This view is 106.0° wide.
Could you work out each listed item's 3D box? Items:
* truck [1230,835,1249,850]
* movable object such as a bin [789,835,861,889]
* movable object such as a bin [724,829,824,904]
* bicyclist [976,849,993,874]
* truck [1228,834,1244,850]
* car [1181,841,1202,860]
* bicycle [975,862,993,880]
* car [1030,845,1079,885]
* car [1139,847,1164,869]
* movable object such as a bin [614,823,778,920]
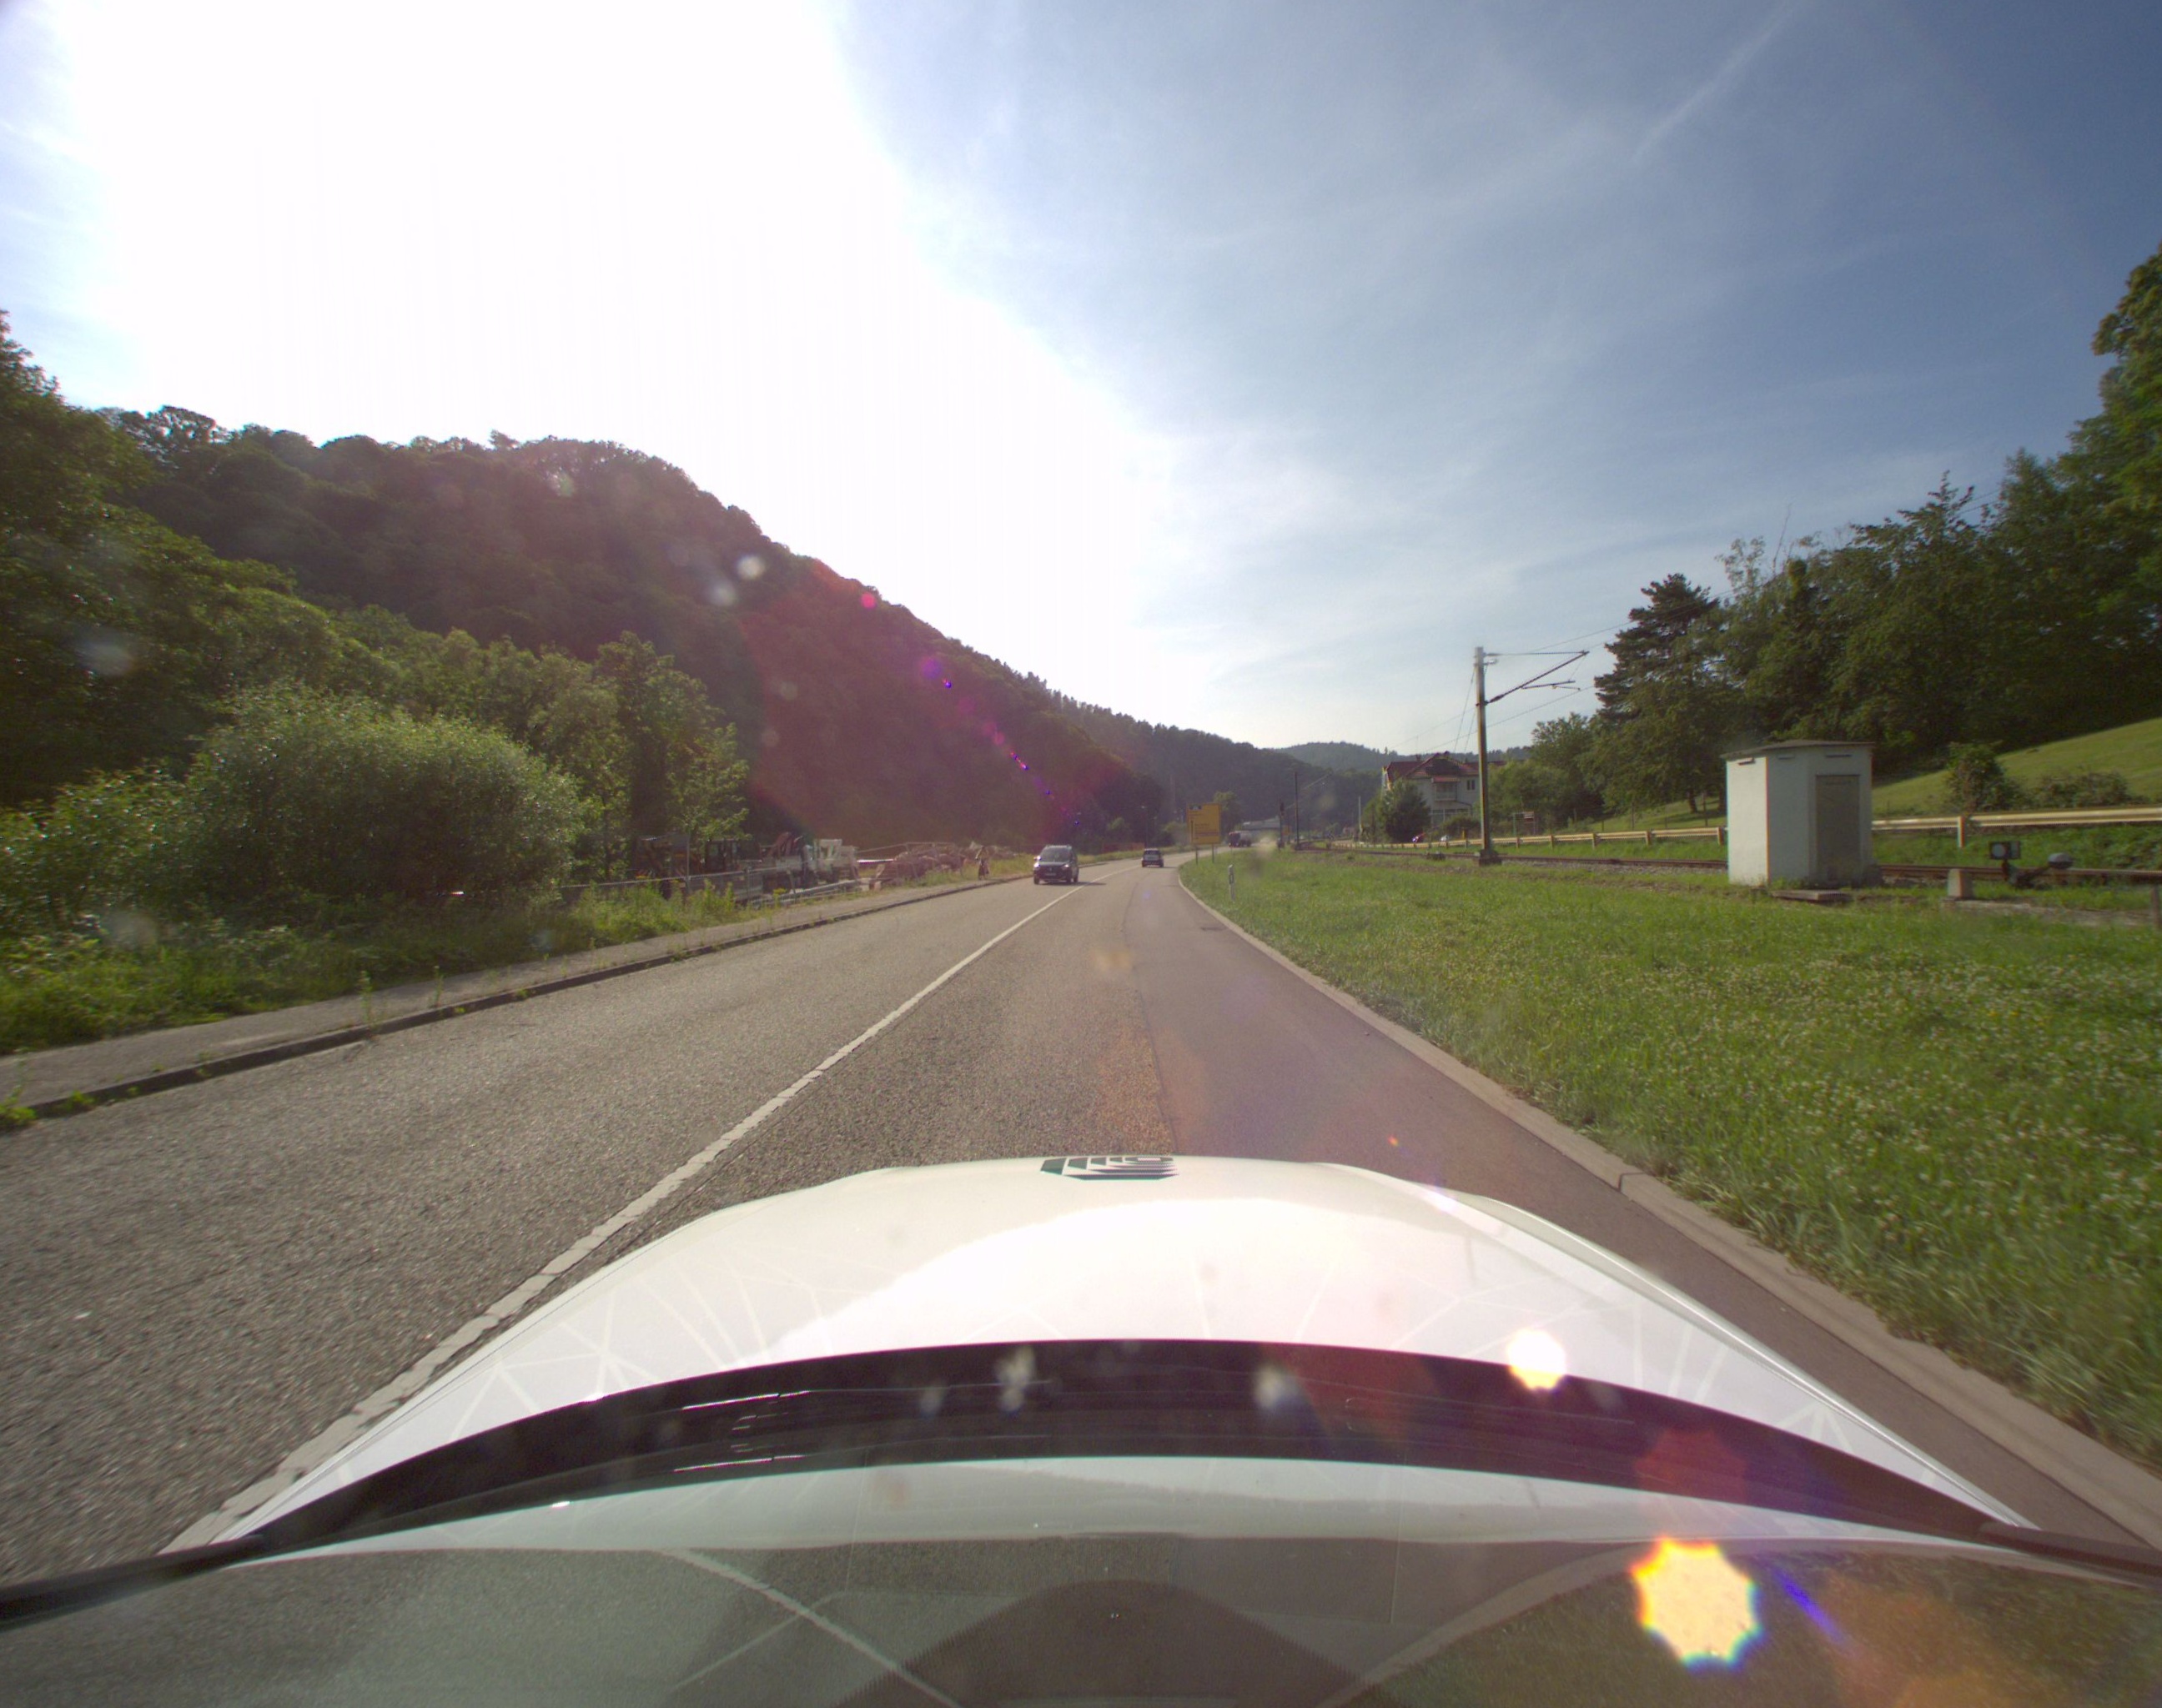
[{"bbox_3d":[40.397,-2.999,207.641,2.727,3.835,14.634,0,1,19],"label":"truck"},{"bbox_3d":[-20.739,0.635,66.531,2.887,3.947,7.813,-4,0,2],"label":"movable object such as a bin"},{"bbox_3d":[-17.876,0.676,48.066,2.711,3.947,7.233,-4,0,2],"label":"movable object such as a bin"},{"bbox_3d":[-4.859,0.357,40.946,0.681,1.225,0.859,-1,0,3],"label":"bicyclist"},{"bbox_3d":[38.370,-3.020,201.945,2.727,3.835,8.238,0,1,19],"label":"truck"},{"bbox_3d":[12.571,-0.399,92.922,1.984,2.013,4.005,-4,0,5],"label":"car"},{"bbox_3d":[-4.863,0.843,40.939,0.537,0.881,2.255,0,0,3],"label":"bicycle"},{"bbox_3d":[-1.193,0.470,38.896,1.843,1.784,4.689,0,0,4],"label":"car"},{"bbox_3d":[6.294,0.324,72.390,1.983,1.723,3.997,-4,0,6],"label":"car"},{"bbox_3d":[-18.158,0.725,39.449,2.689,3.947,9.994,-4,0,2],"label":"movable object such as a bin"}]
